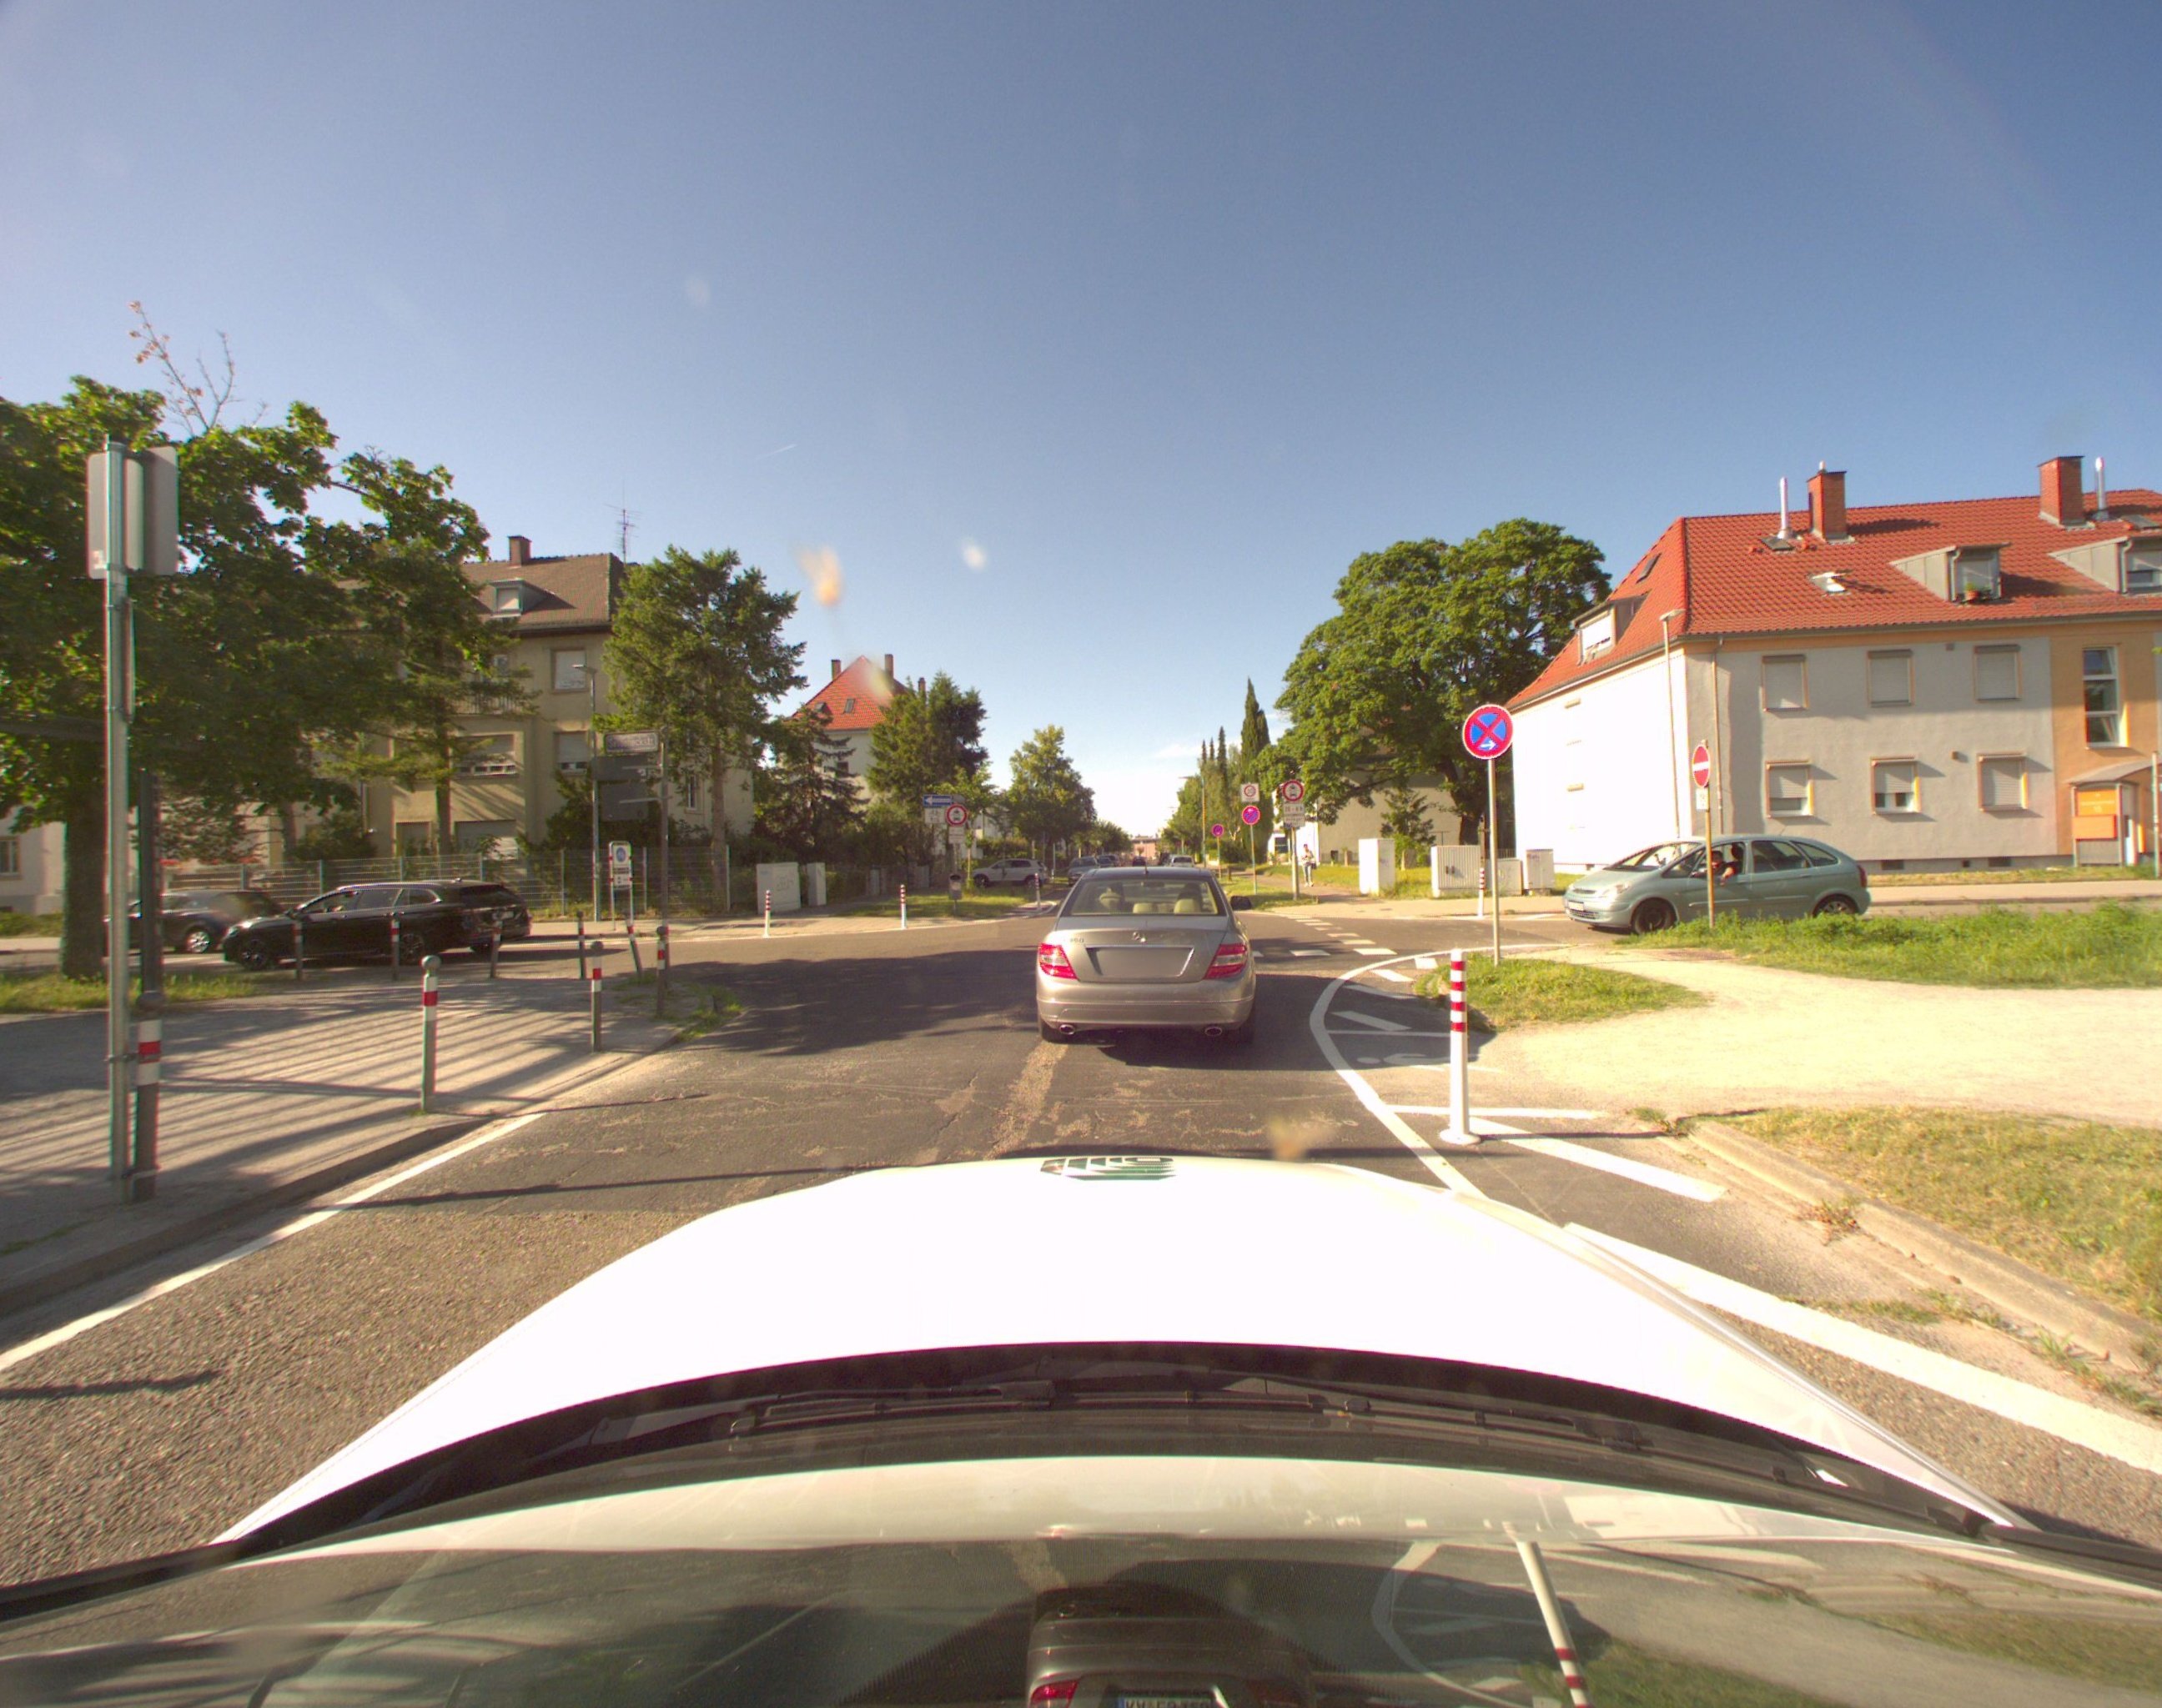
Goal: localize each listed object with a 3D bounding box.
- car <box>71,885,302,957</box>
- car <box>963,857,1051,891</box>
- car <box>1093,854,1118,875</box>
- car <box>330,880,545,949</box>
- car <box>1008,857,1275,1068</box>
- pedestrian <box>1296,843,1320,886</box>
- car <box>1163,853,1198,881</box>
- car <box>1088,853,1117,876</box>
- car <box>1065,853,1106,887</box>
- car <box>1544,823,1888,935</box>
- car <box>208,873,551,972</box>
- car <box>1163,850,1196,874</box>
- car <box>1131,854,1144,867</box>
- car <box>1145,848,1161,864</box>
[{"bbox_3d":[-21.123,1.556,19.308,3.796,1.495,1.679,-2,-1,4],"label":"car"},{"bbox_3d":[-3.649,0.972,40.727,4.177,1.564,1.843,-1,0,1],"label":"car"},{"bbox_3d":[2.113,0.866,69.199,1.986,1.609,4.003,-5,0,3],"label":"car"},{"bbox_3d":[-14.987,1.381,19.087,3.747,1.398,1.709,-2,-1,4],"label":"car"},{"bbox_3d":[0.613,0.770,7.671,1.827,1.441,4.006,-1,0,6],"label":"car"},{"bbox_3d":[8.817,0.395,31.613,0.761,1.611,0.836,-2,0,9],"label":"pedestrian"},{"bbox_3d":[5.766,0.731,47.589,1.726,1.480,3.728,-2,0,3],"label":"car"},{"bbox_3d":[1.697,0.791,63.414,1.986,1.609,4.003,-5,0,3],"label":"car"},{"bbox_3d":[0.282,0.855,45.637,1.986,1.609,4.003,-5,0,3],"label":"car"},{"bbox_3d":[10.468,0.402,13.727,4.213,1.608,1.891,-2,0,5],"label":"car"},{"bbox_3d":[-13.003,1.226,15.324,4.722,1.524,2.001,-2,0,2],"label":"car"},{"bbox_3d":[7.019,0.560,58.397,1.985,1.609,4.003,-2,0,3],"label":"car"},{"bbox_3d":[7.427,0.785,106.780,1.591,1.609,3.646,-2,0,3],"label":"car"},{"bbox_3d":[9.069,0.266,103.111,1.846,1.841,4.004,-2,0,4],"label":"car"}]
